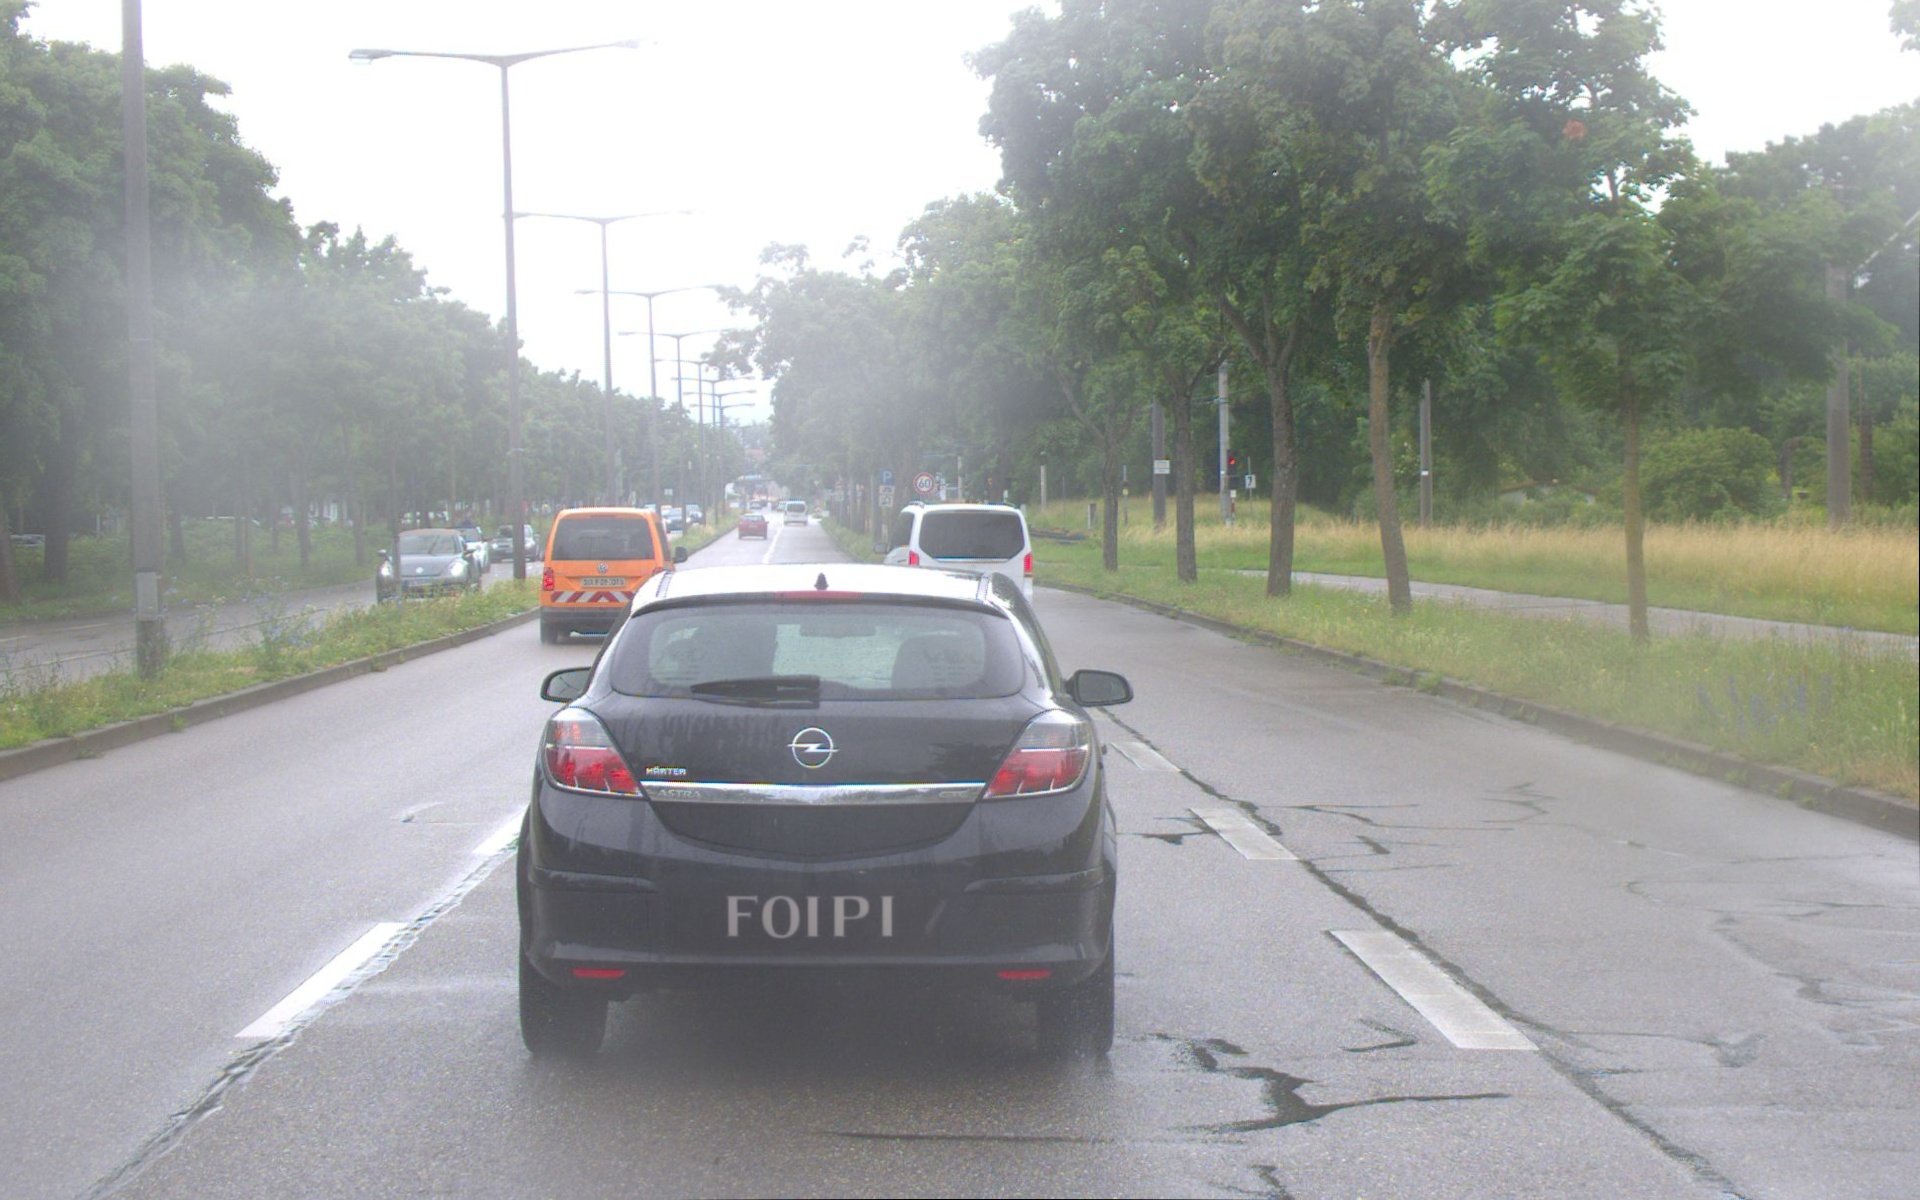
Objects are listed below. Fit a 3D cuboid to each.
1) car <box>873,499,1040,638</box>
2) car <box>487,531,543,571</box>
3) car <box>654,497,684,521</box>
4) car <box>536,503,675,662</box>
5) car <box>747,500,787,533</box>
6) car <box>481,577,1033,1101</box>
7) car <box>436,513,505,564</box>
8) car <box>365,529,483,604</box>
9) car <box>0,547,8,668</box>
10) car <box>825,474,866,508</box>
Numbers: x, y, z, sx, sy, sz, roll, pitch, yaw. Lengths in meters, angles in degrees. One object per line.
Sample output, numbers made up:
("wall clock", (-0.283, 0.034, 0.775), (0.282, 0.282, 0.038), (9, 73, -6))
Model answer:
("car", (-0.110, -0.474, 51.140), (2.059, 1.968, 4.609), (0, 1, -5))
("car", (-17.393, -1.922, 134.450), (1.720, 1.524, 3.809), (-1, 1, -1))
("car", (-19.612, -6.135, 231.826), (1.720, 1.524, 3.809), (-1, 1, -1))
("car", (-4.832, -0.255, 47.047), (1.734, 2.012, 4.850), (2, 1, -5))
("car", (-11.060, -4.783, 196.963), (1.993, 1.873, 4.000), (0, 1, 1))
("car", (-0.498, 0.621, 11.001), (1.463, 1.324, 3.758), (0, 1, 1))
("car", (-15.688, -1.999, 110.303), (1.720, 1.524, 3.809), (-1, 2, -1))
("car", (-10.721, -0.693, 68.987), (1.827, 1.445, 3.809), (-1, 1, -1))
("car", (-13.146, 0.116, 42.381), (1.683, 1.548, 4.000), (0, 1, 0))
("car", (-7.263, -6.906, 218.278), (2.516, 2.045, 5.294), (2, 1, -2))
